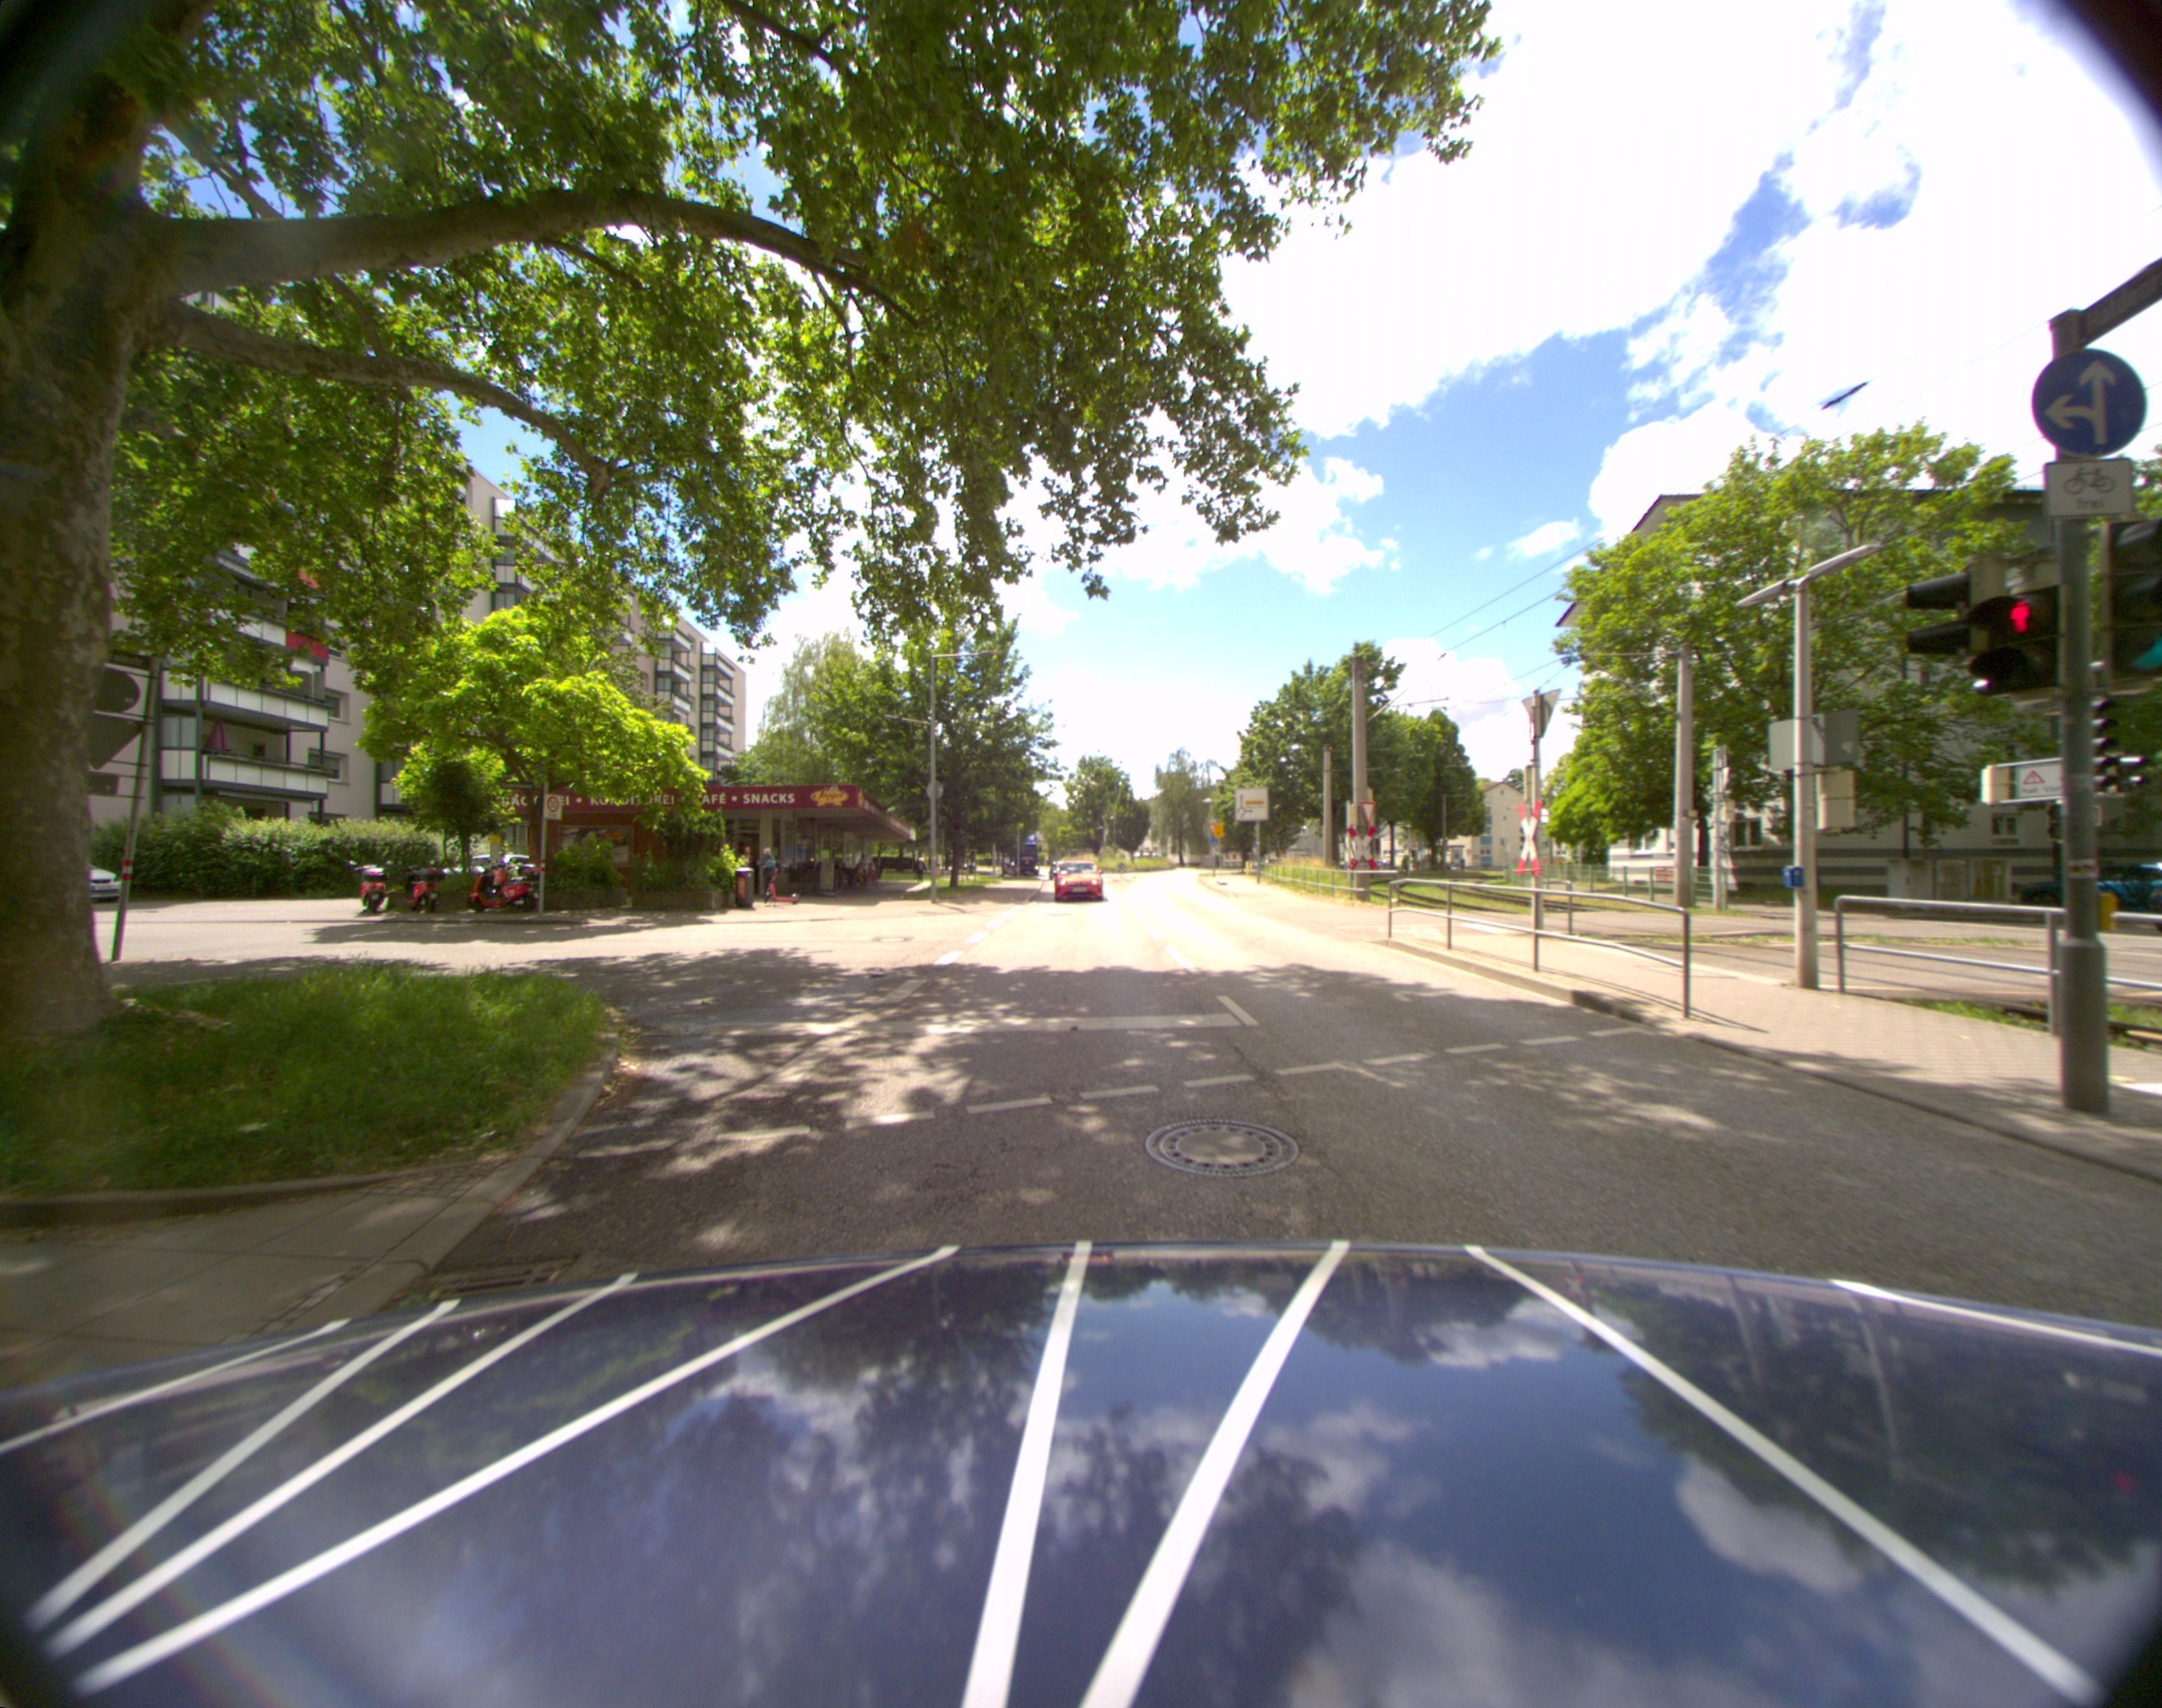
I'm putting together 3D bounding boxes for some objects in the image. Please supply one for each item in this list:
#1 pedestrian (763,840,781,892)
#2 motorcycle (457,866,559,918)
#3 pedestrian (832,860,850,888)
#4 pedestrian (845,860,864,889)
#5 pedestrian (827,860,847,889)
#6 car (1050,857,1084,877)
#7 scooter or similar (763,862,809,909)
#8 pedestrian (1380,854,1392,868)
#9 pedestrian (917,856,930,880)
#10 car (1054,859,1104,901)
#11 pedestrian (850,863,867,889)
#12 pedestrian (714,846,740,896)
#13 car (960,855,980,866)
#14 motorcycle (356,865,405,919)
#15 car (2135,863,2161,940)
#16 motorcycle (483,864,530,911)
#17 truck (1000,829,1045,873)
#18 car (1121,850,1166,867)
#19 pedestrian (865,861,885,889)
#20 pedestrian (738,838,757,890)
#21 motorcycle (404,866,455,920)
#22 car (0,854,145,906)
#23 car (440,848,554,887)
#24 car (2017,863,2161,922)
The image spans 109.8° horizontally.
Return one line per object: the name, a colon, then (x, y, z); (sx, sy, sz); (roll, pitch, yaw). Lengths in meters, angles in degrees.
pedestrian: (-9.781, 0.372, 24.046); (0.444, 1.623, 0.399); (0, 1, -40)
motorcycle: (-13.960, 0.912, 18.527); (2.135, 1.188, 0.740); (0, 1, 10)
pedestrian: (-11.303, 0.923, 35.788); (0.674, 1.259, 0.677); (2, 1, -8)
pedestrian: (-10.176, 0.926, 34.194); (0.674, 1.259, 0.826); (2, -2, -8)
pedestrian: (-11.021, 0.902, 34.352); (0.677, 1.259, 0.673); (2, 1, -6)
car: (-1.112, 0.985, 58.544); (1.763, 1.514, 3.820); (0, 0, -14)
scooter or similar: (-8.485, 0.875, 21.870); (0.376, 1.300, 1.234); (1, 1, 33)
pedestrian: (36.146, 0.853, 90.185); (1.022, 1.655, 0.875); (0, 1, -5)
pedestrian: (-10.181, 0.900, 49.252); (0.726, 1.529, 0.654); (0, 1, -3)
car: (-0.078, 0.930, 28.636); (1.712, 1.439, 3.669); (-1, 0, 0)
pedestrian: (-10.503, 1.038, 35.900); (0.674, 1.145, 0.677); (2, 1, -8)
pedestrian: (-10.889, 0.516, 23.403); (0.510, 1.542, 0.534); (1, 1, 32)
car: (-14.622, 0.854, 99.756); (1.811, 1.346, 3.993); (0, 0, -19)
motorcycle: (-17.243, 0.898, 18.735); (0.741, 1.188, 2.132); (0, 1, -39)
car: (22.394, 0.971, 13.947); (3.680, 1.467, 1.589); (3, -2, 4)
motorcycle: (-15.722, 0.876, 20.771); (0.741, 1.188, 2.132); (0, 1, -45)
truck: (-5.884, -0.276, 74.928); (2.633, 4.069, 9.595); (0, 0, -16)
car: (7.049, 0.471, 85.498); (4.606, 1.786, 2.004); (0, 0, 26)
pedestrian: (-9.548, 0.946, 35.192); (0.677, 1.259, 0.674); (1, 1, 5)
pedestrian: (-10.414, 0.313, 23.750); (0.444, 1.623, 0.399); (0, 1, -40)
motorcycle: (-16.047, 0.926, 18.689); (2.132, 1.188, 0.741); (1, 1, 44)
car: (-29.559, 0.708, 21.612); (3.489, 1.430, 1.748); (0, 0, -6)
car: (-21.458, 0.467, 28.075); (1.749, 1.334, 3.487); (0, 0, -6)
car: (30.759, 1.089, 22.083); (1.860, 1.547, 4.108); (0, 1, -6)
